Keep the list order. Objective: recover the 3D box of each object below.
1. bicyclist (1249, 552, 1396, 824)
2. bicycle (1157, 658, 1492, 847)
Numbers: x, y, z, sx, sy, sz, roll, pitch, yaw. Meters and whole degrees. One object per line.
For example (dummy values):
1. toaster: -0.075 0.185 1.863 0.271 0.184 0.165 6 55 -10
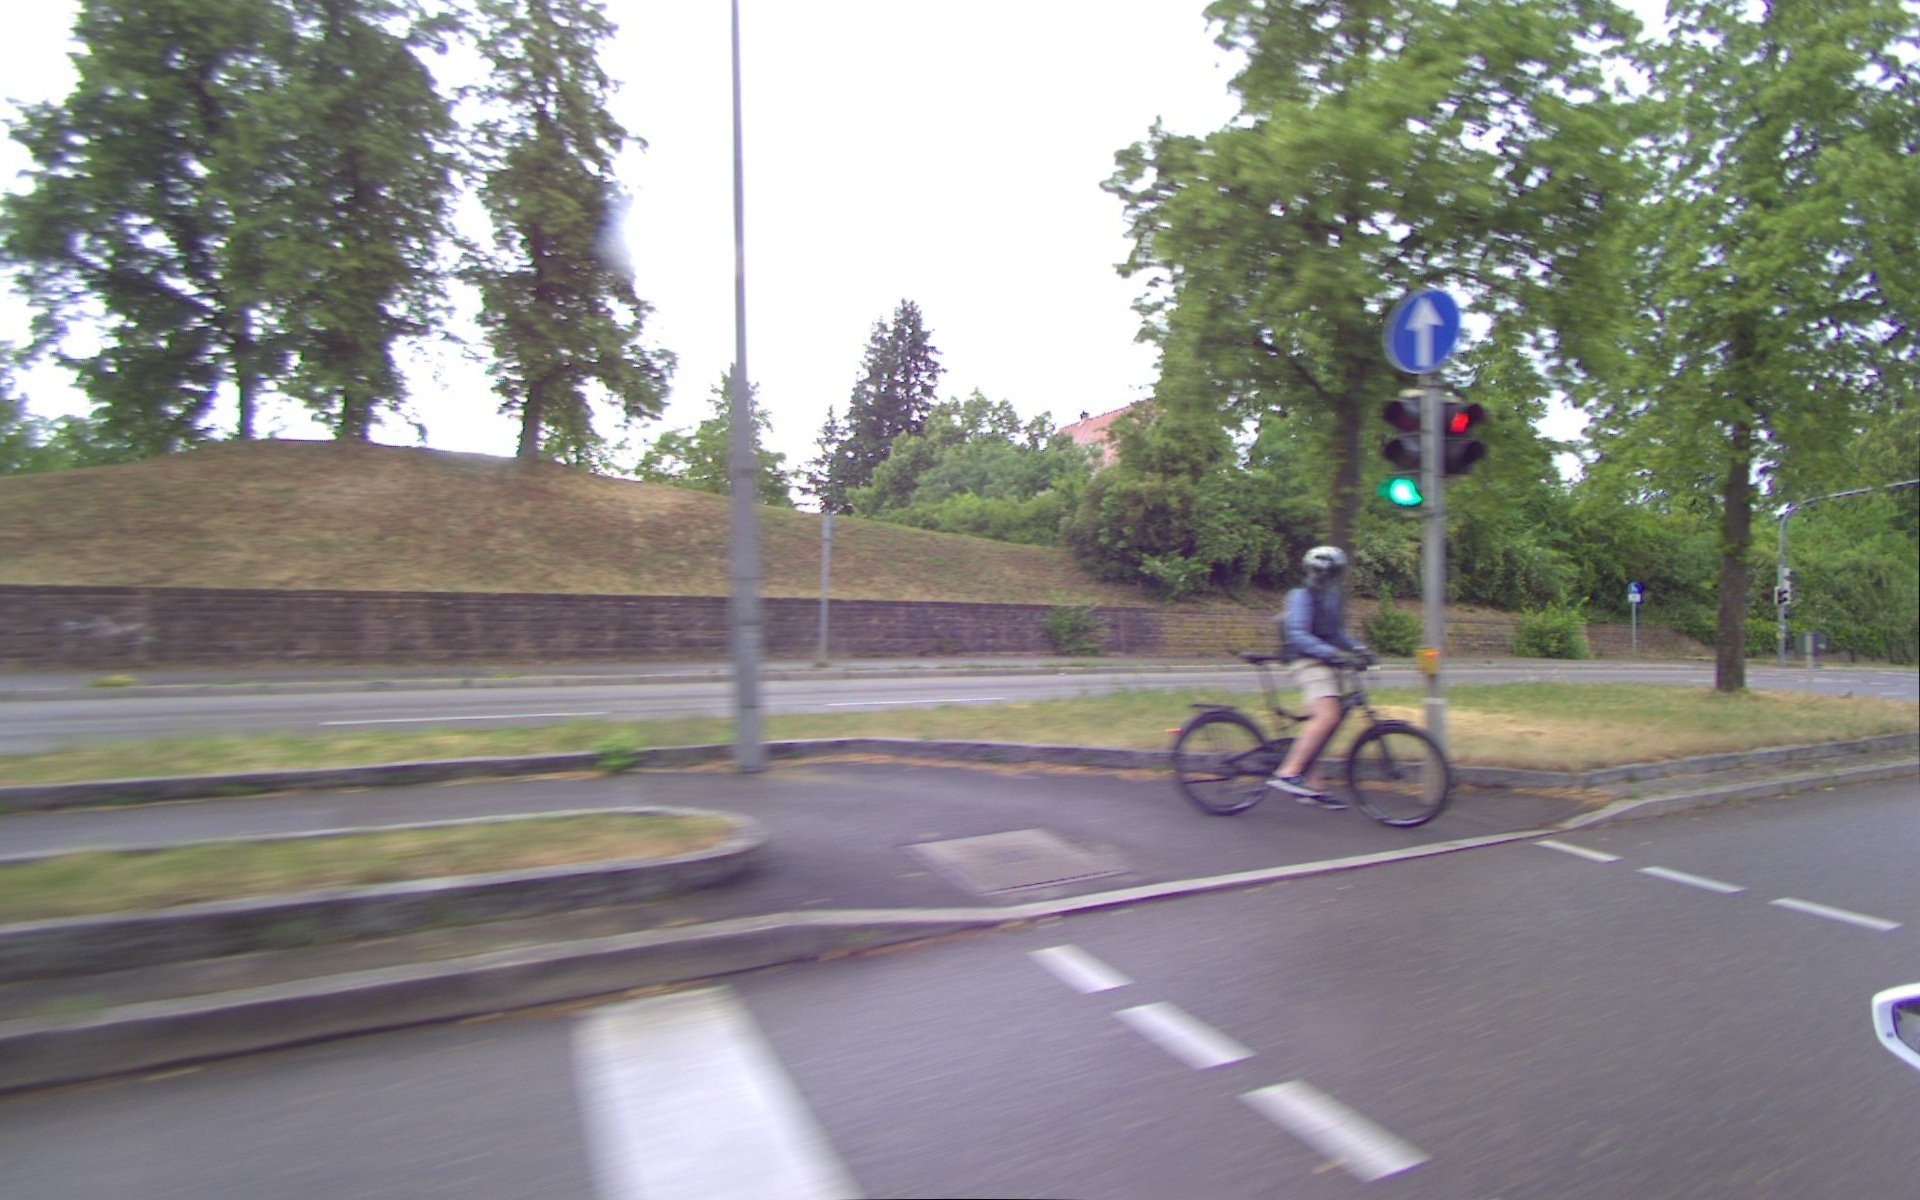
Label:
1. bicyclist: 2.519 0.594 7.054 0.785 1.775 0.726 2 -3 5
2. bicycle: 2.472 1.027 6.989 2.097 1.158 0.554 1 0 5
